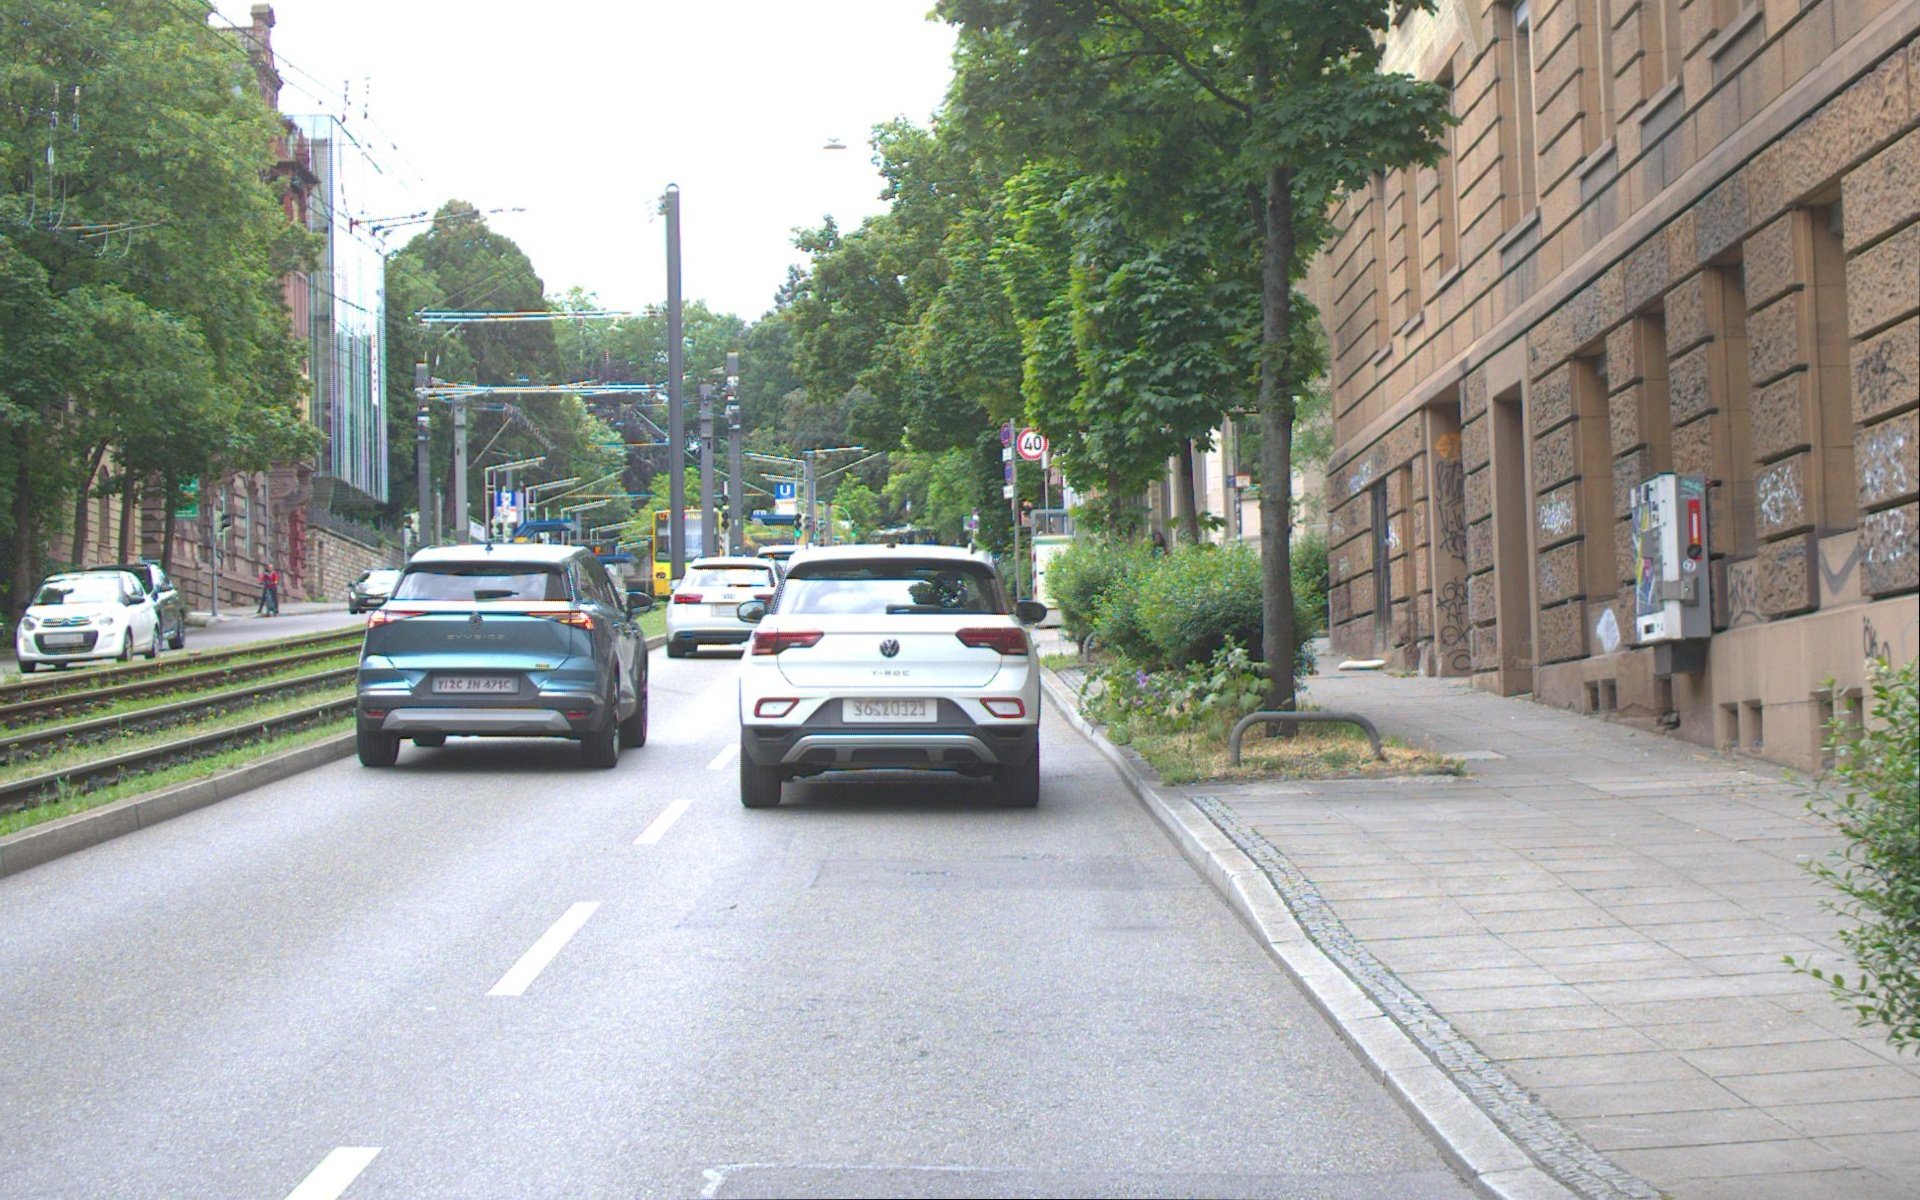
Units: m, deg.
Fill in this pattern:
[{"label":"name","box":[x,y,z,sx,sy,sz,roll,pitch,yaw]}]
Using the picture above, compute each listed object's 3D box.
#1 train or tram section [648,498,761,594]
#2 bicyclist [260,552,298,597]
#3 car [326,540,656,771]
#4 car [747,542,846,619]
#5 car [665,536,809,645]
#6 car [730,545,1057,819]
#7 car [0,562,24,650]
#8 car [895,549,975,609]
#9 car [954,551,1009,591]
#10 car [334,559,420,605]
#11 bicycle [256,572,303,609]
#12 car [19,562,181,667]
[{"label":"train or tram section","box":[-9.403,-1.981,127.967,2.996,3.337,13.439,-1,1,1]},{"label":"bicyclist","box":[-21.809,-0.831,110.140,0.938,1.420,1.188,-1,1,0]},{"label":"car","box":[-3.328,0.348,25.134,1.835,1.541,4.193,0,1,0]},{"label":"car","box":[-3.337,-0.411,70.765,1.835,1.541,4.193,0,1,0]},{"label":"car","box":[-3.247,-0.163,50.739,1.835,1.541,4.193,0,1,0]},{"label":"car","box":[-0.417,0.435,21.478,1.835,1.541,4.194,0,1,-1]},{"label":"car","box":[-19.843,0.101,63.400,4.593,1.612,1.936,0,1,-34]},{"label":"car","box":[-0.648,-0.567,91.099,2.068,1.541,4.193,0,1,0]},{"label":"car","box":[0.823,-1.126,133.291,2.068,1.541,4.193,0,1,0]},{"label":"car","box":[-18.577,-0.586,109.735,1.993,1.398,4.000,-1,1,1]},{"label":"bicycle","box":[-21.789,-0.311,110.104,0.938,1.096,2.703,-1,1,0]},{"label":"car","box":[-12.963,0.195,51.978,1.588,1.430,3.413,-3,1,-1]}]
